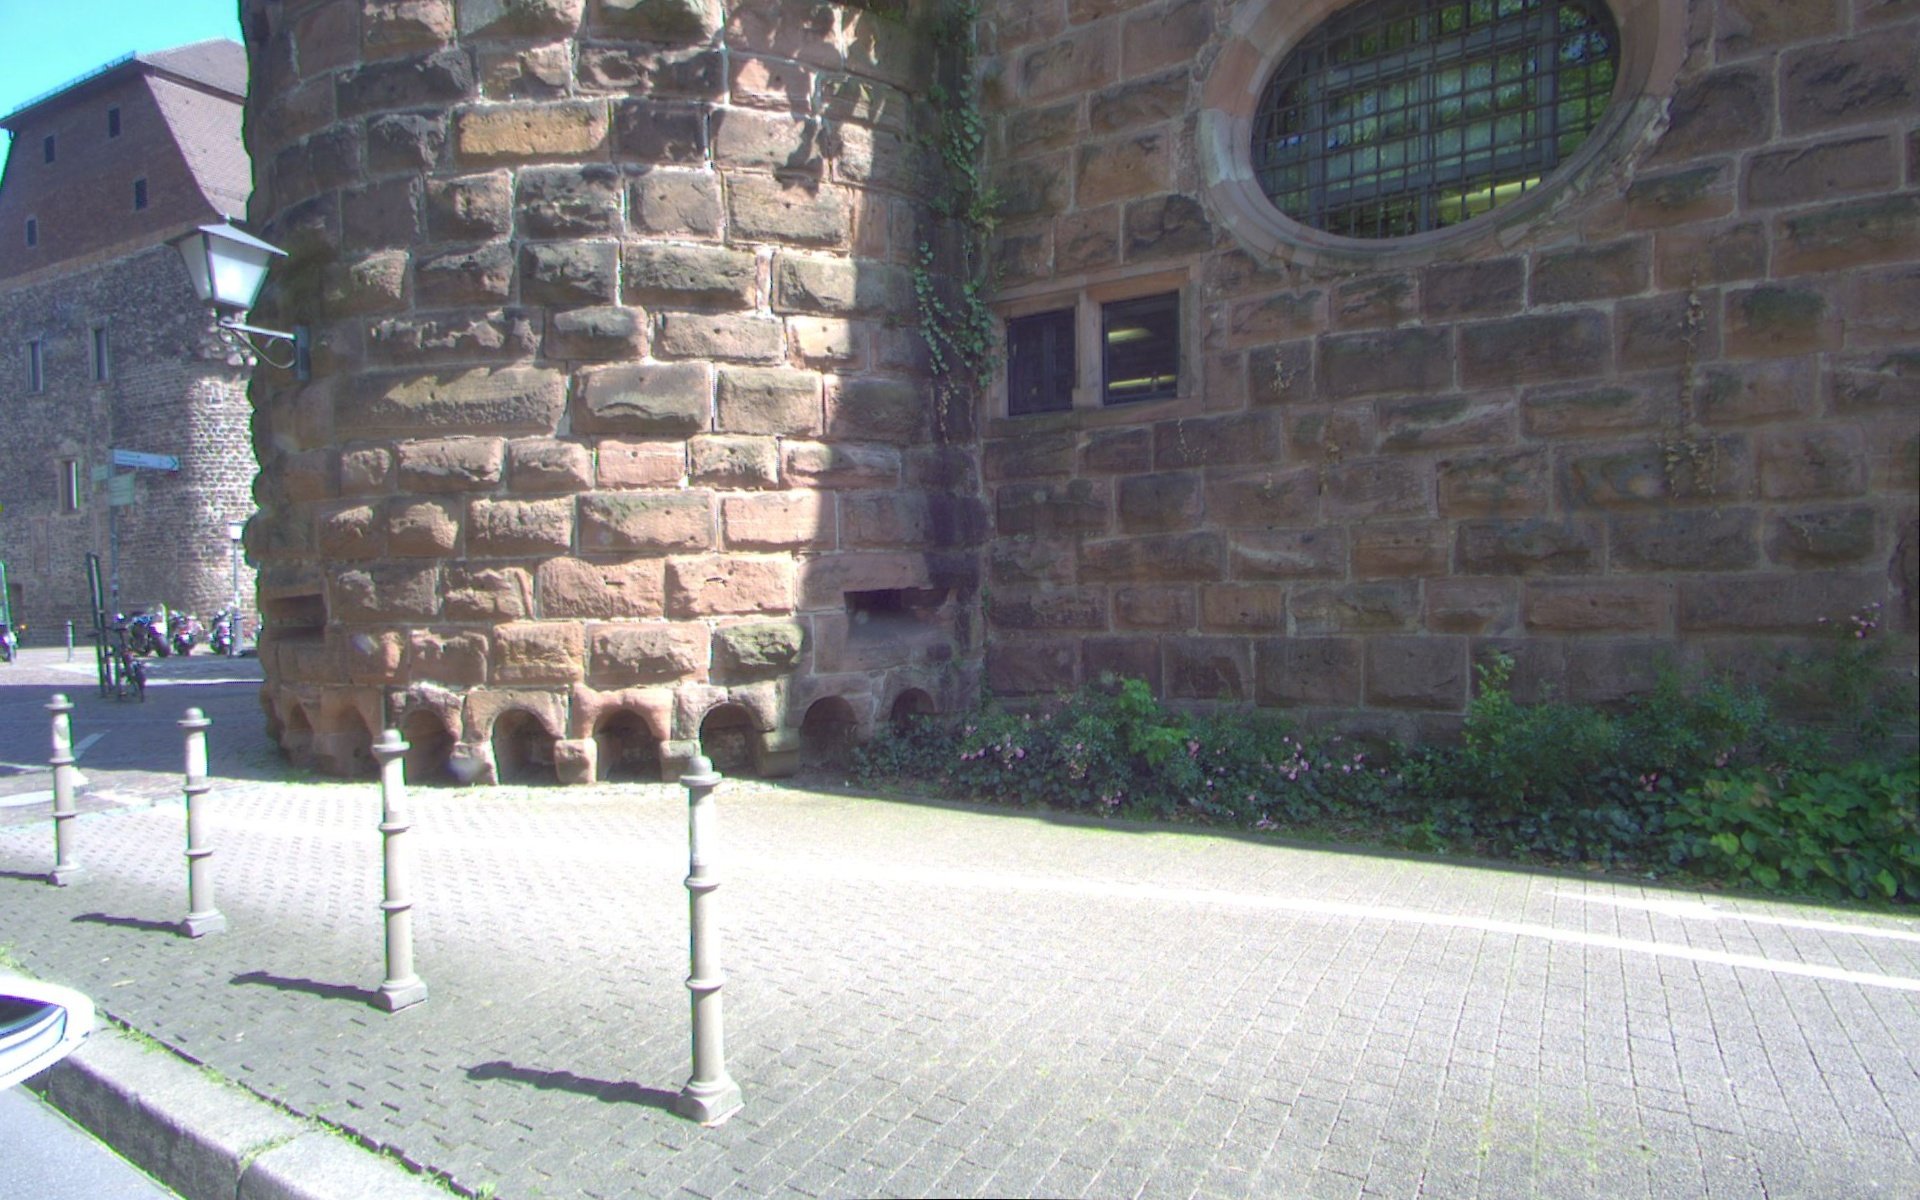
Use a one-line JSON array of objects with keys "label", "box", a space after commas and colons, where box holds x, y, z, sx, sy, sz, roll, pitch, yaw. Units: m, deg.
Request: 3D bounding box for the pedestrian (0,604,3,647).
[{"label": "pedestrian", "box": [-45.765, 1.189, 47.182, 0.728, 2.039, 0.838, -1, -1, 33]}]

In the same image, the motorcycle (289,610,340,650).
[{"label": "motorcycle", "box": [-18.147, 0.845, 28.137, 1.814, 1.087, 0.506, -1, -2, 32]}]

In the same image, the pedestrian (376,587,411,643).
[{"label": "pedestrian", "box": [-19.491, 0.528, 34.448, 0.805, 1.908, 0.671, 0, -1, 3]}]

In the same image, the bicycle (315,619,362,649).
[{"label": "bicycle", "box": [-18.392, 1.003, 29.623, 1.898, 0.831, 0.353, 0, -1, 32]}]

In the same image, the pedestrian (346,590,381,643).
[{"label": "pedestrian", "box": [-20.805, 0.588, 34.919, 0.830, 1.826, 0.654, 0, 0, 0]}]

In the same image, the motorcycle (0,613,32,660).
[{"label": "motorcycle", "box": [-22.205, 0.820, 23.065, 2.453, 1.026, 0.565, 0, 1, 32]}]

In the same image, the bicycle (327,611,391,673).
[{"label": "bicycle", "box": [-11.956, 0.808, 19.892, 1.707, 1.178, 0.445, 0, 1, 36]}]

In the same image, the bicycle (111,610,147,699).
[{"label": "bicycle", "box": [-12.032, 0.755, 14.487, 1.750, 1.220, 0.192, 0, 0, 44]}]

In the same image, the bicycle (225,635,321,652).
[{"label": "bicycle", "box": [-17.576, 1.106, 25.632, 1.916, 0.386, 0.909, 0, -2, -44]}]

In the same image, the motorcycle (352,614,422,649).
[{"label": "motorcycle", "box": [-17.988, 0.984, 31.474, 0.474, 1.067, 1.858, -1, -2, 40]}]

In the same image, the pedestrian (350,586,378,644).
[{"label": "pedestrian", "box": [-21.315, 0.559, 35.822, 0.865, 2.039, 0.729, 1, -1, -31]}]

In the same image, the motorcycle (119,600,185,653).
[{"label": "motorcycle", "box": [-20.564, 0.680, 25.476, 2.169, 1.282, 0.654, -1, -1, 32]}]

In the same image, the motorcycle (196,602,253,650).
[{"label": "motorcycle", "box": [-19.849, 0.720, 27.012, 2.002, 1.251, 0.545, -1, -2, 32]}]

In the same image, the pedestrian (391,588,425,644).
[{"label": "pedestrian", "box": [-19.458, 0.563, 35.306, 0.805, 1.944, 0.671, 0, -1, -5]}]

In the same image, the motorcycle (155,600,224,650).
[{"label": "motorcycle", "box": [-20.136, 0.669, 26.157, 2.280, 1.251, 0.674, -1, -2, 32]}]
